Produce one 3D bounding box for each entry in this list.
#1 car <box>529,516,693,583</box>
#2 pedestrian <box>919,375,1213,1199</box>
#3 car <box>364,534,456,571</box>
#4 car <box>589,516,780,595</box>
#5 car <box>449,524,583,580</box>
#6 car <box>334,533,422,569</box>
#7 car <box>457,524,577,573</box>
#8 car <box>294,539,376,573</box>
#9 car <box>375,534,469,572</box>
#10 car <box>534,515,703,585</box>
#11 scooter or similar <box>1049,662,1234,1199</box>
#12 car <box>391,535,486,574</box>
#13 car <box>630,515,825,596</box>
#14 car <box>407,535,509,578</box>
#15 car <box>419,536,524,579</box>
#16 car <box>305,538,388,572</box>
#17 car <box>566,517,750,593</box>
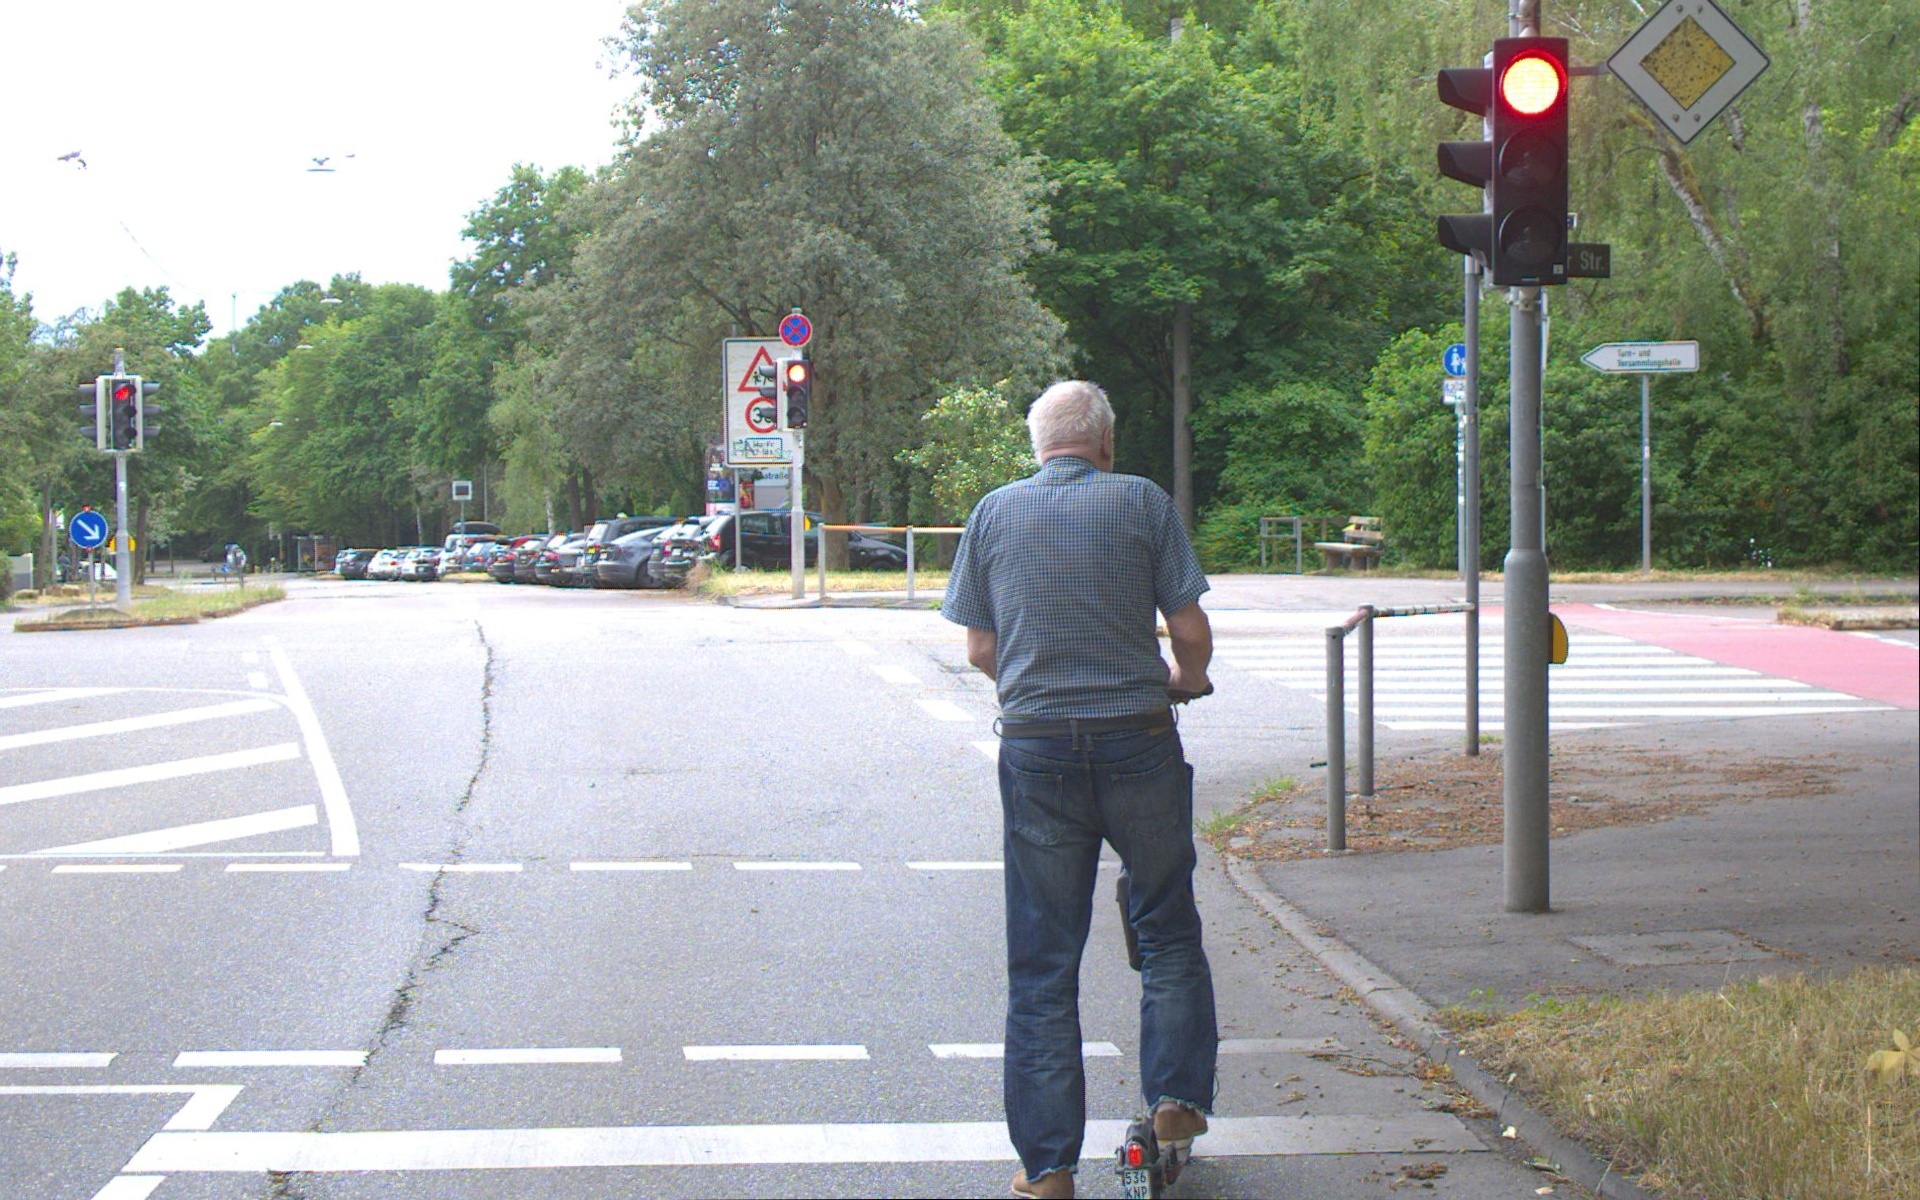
[{"bbox_3d":[-9.049,-1.315,89.063,3.840,1.605,1.729,-3,2,-23],"label":"car"},{"bbox_3d":[0.241,0.423,7.570,0.573,1.807,0.420,-1,1,8],"label":"pedestrian"},{"bbox_3d":[-25.396,-2.200,158.776,3.840,1.605,1.729,-3,2,-23],"label":"car"},{"bbox_3d":[-6.158,-1.003,76.763,3.841,1.605,1.728,-3,2,-24],"label":"car"},{"bbox_3d":[-14.062,-1.527,108.927,3.840,1.605,1.729,-3,2,-23],"label":"car"},{"bbox_3d":[-28.067,-2.369,165.842,3.840,1.605,1.729,-3,2,-23],"label":"car"},{"bbox_3d":[-15.709,-1.840,121.894,3.840,1.605,1.729,-3,2,-23],"label":"car"},{"bbox_3d":[-32.354,-2.294,177.976,3.840,1.605,1.729,-3,2,-23],"label":"car"},{"bbox_3d":[-24.454,-2.140,156.206,3.840,1.605,1.729,-3,2,-23],"label":"car"},{"bbox_3d":[-8.609,-1.269,86.651,3.840,1.605,1.729,-3,2,-23],"label":"car"},{"bbox_3d":[0.406,0.749,7.400,0.282,1.174,1.177,-1,1,8],"label":"scooter or similar"},{"bbox_3d":[-23.380,-2.041,154.074,3.840,1.605,1.729,-3,2,-23],"label":"car"},{"bbox_3d":[-5.057,-0.972,74.792,3.840,1.605,1.729,-2,2,-21],"label":"car"},{"bbox_3d":[-20.858,-1.815,142.770,3.840,1.605,1.729,-3,2,-23],"label":"car"},{"bbox_3d":[-19.753,-1.734,139.096,3.840,1.605,1.729,-3,2,-23],"label":"car"},{"bbox_3d":[-31.333,-2.321,175.638,3.840,1.605,1.729,-3,2,-23],"label":"car"},{"bbox_3d":[-6.960,-1.055,79.304,3.840,1.605,1.729,-3,2,-23],"label":"car"}]
